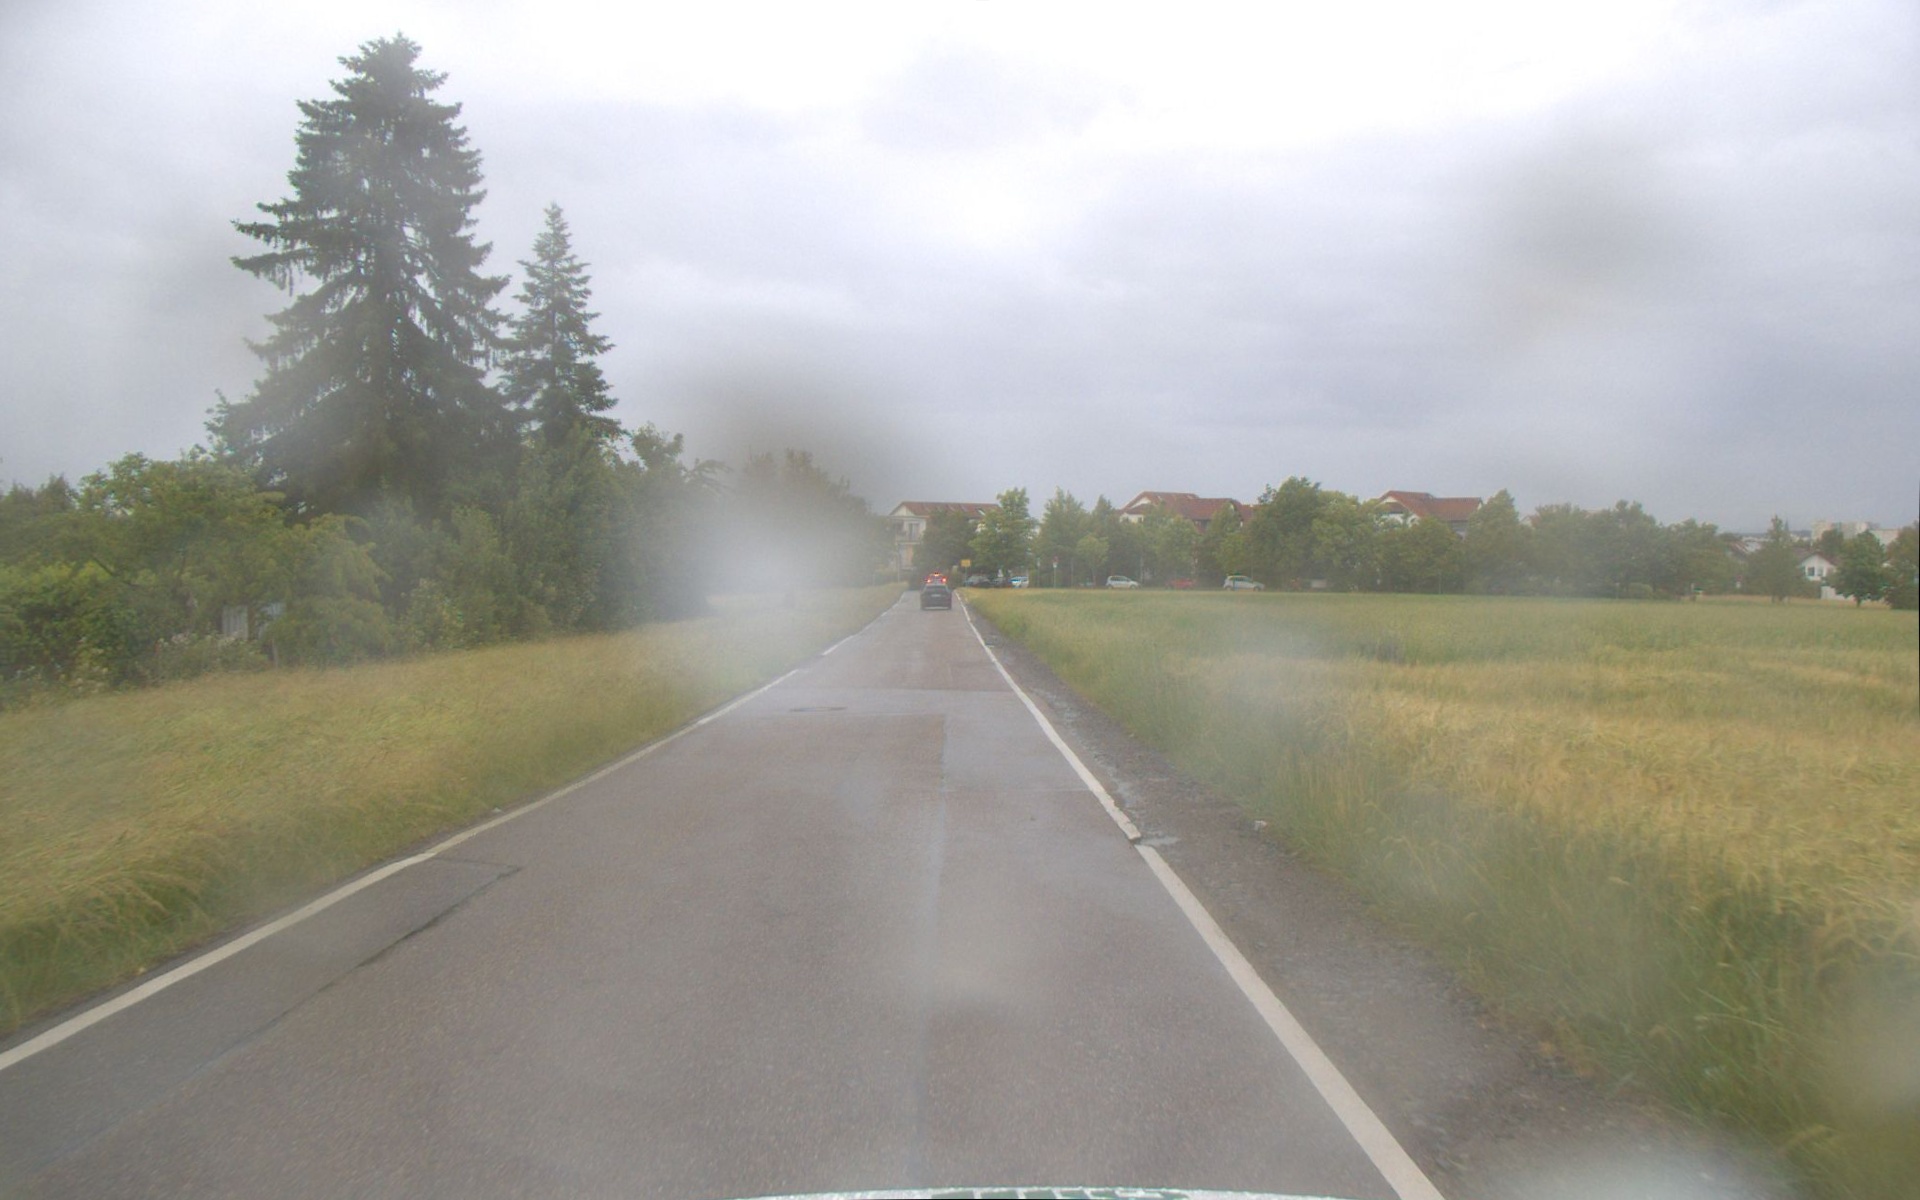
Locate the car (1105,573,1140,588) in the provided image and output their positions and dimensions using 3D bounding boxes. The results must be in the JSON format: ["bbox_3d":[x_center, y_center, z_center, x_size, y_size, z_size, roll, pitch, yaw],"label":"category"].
[{"bbox_3d":[16.153,-1.951,164.657,3.317,1.394,1.549,0,-1,13],"label":"car"}]

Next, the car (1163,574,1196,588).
[{"bbox_3d":[21.667,-1.878,163.498,3.124,1.394,1.573,0,-1,13],"label":"car"}]

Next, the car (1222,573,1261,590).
[{"bbox_3d":[27.596,-1.816,161.999,3.630,1.591,1.612,0,-1,13],"label":"car"}]

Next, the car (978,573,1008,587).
[{"bbox_3d":[3.979,-2.414,198.646,1.632,1.573,3.986,-1,-1,35],"label":"car"}]

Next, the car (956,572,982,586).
[{"bbox_3d":[1.064,-2.475,193.343,1.627,1.573,3.998,-1,-1,24],"label":"car"}]

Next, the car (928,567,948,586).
[{"bbox_3d":[-1.979,-2.123,151.305,1.777,1.622,4.000,0,-1,0],"label":"car"}]

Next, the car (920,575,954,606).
[{"bbox_3d":[-1.266,-0.518,92.628,1.777,1.622,4.000,0,-1,0],"label":"car"}]
